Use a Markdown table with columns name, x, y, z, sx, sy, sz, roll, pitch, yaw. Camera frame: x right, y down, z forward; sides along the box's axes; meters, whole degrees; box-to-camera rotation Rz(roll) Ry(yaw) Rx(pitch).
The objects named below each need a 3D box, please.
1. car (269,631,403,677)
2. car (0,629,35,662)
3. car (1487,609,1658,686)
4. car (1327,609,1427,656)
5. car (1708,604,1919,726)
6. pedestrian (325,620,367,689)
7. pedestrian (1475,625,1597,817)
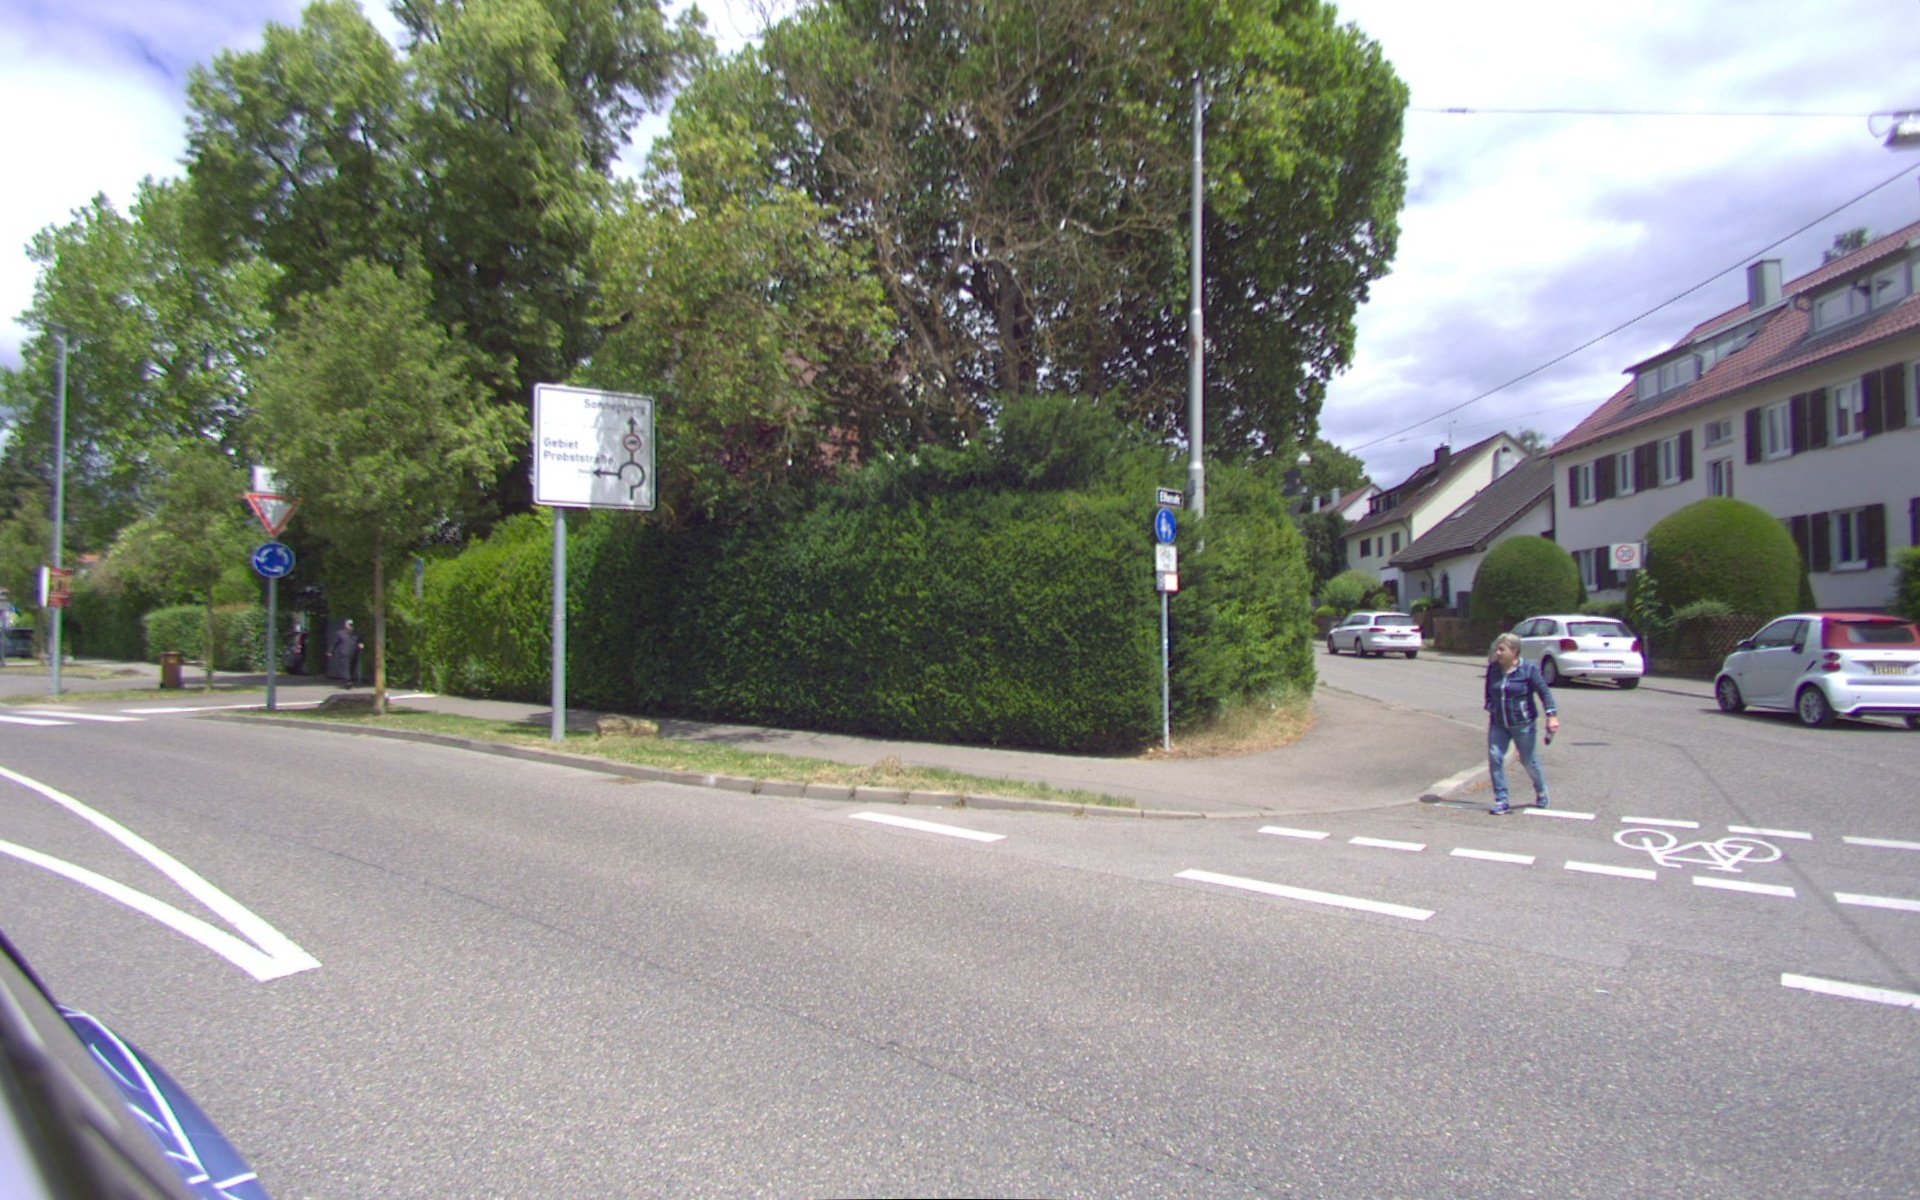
| name | x | y | z | sx | sy | sz | roll | pitch | yaw |
| --- | --- | --- | --- | --- | --- | --- | --- | --- | --- |
| car | -21.367 | 1.882 | 34.730 | 1.665 | 1.408 | 3.528 | -1 | -5 | 43 |
| car | -50.415 | 2.372 | 53.422 | 3.995 | 1.674 | 1.660 | -1 | -3 | 39 |
| car | 12.831 | 0.941 | 21.469 | 1.694 | 1.466 | 3.529 | 0 | 0 | 5 |
| car | 13.652 | 1.022 | 33.405 | 1.683 | 1.416 | 4.277 | 0 | 0 | 2 |
| car | 12.416 | 0.845 | 14.453 | 1.570 | 1.567 | 2.773 | 0 | 0 | 6 |
| pedestrian | -15.414 | 1.357 | 25.410 | 0.695 | 1.704 | 0.735 | -1 | -2 | 44 |
| pedestrian | 4.798 | 0.973 | 8.474 | 0.620 | 1.520 | 0.730 | 0 | -1 | 6 |
